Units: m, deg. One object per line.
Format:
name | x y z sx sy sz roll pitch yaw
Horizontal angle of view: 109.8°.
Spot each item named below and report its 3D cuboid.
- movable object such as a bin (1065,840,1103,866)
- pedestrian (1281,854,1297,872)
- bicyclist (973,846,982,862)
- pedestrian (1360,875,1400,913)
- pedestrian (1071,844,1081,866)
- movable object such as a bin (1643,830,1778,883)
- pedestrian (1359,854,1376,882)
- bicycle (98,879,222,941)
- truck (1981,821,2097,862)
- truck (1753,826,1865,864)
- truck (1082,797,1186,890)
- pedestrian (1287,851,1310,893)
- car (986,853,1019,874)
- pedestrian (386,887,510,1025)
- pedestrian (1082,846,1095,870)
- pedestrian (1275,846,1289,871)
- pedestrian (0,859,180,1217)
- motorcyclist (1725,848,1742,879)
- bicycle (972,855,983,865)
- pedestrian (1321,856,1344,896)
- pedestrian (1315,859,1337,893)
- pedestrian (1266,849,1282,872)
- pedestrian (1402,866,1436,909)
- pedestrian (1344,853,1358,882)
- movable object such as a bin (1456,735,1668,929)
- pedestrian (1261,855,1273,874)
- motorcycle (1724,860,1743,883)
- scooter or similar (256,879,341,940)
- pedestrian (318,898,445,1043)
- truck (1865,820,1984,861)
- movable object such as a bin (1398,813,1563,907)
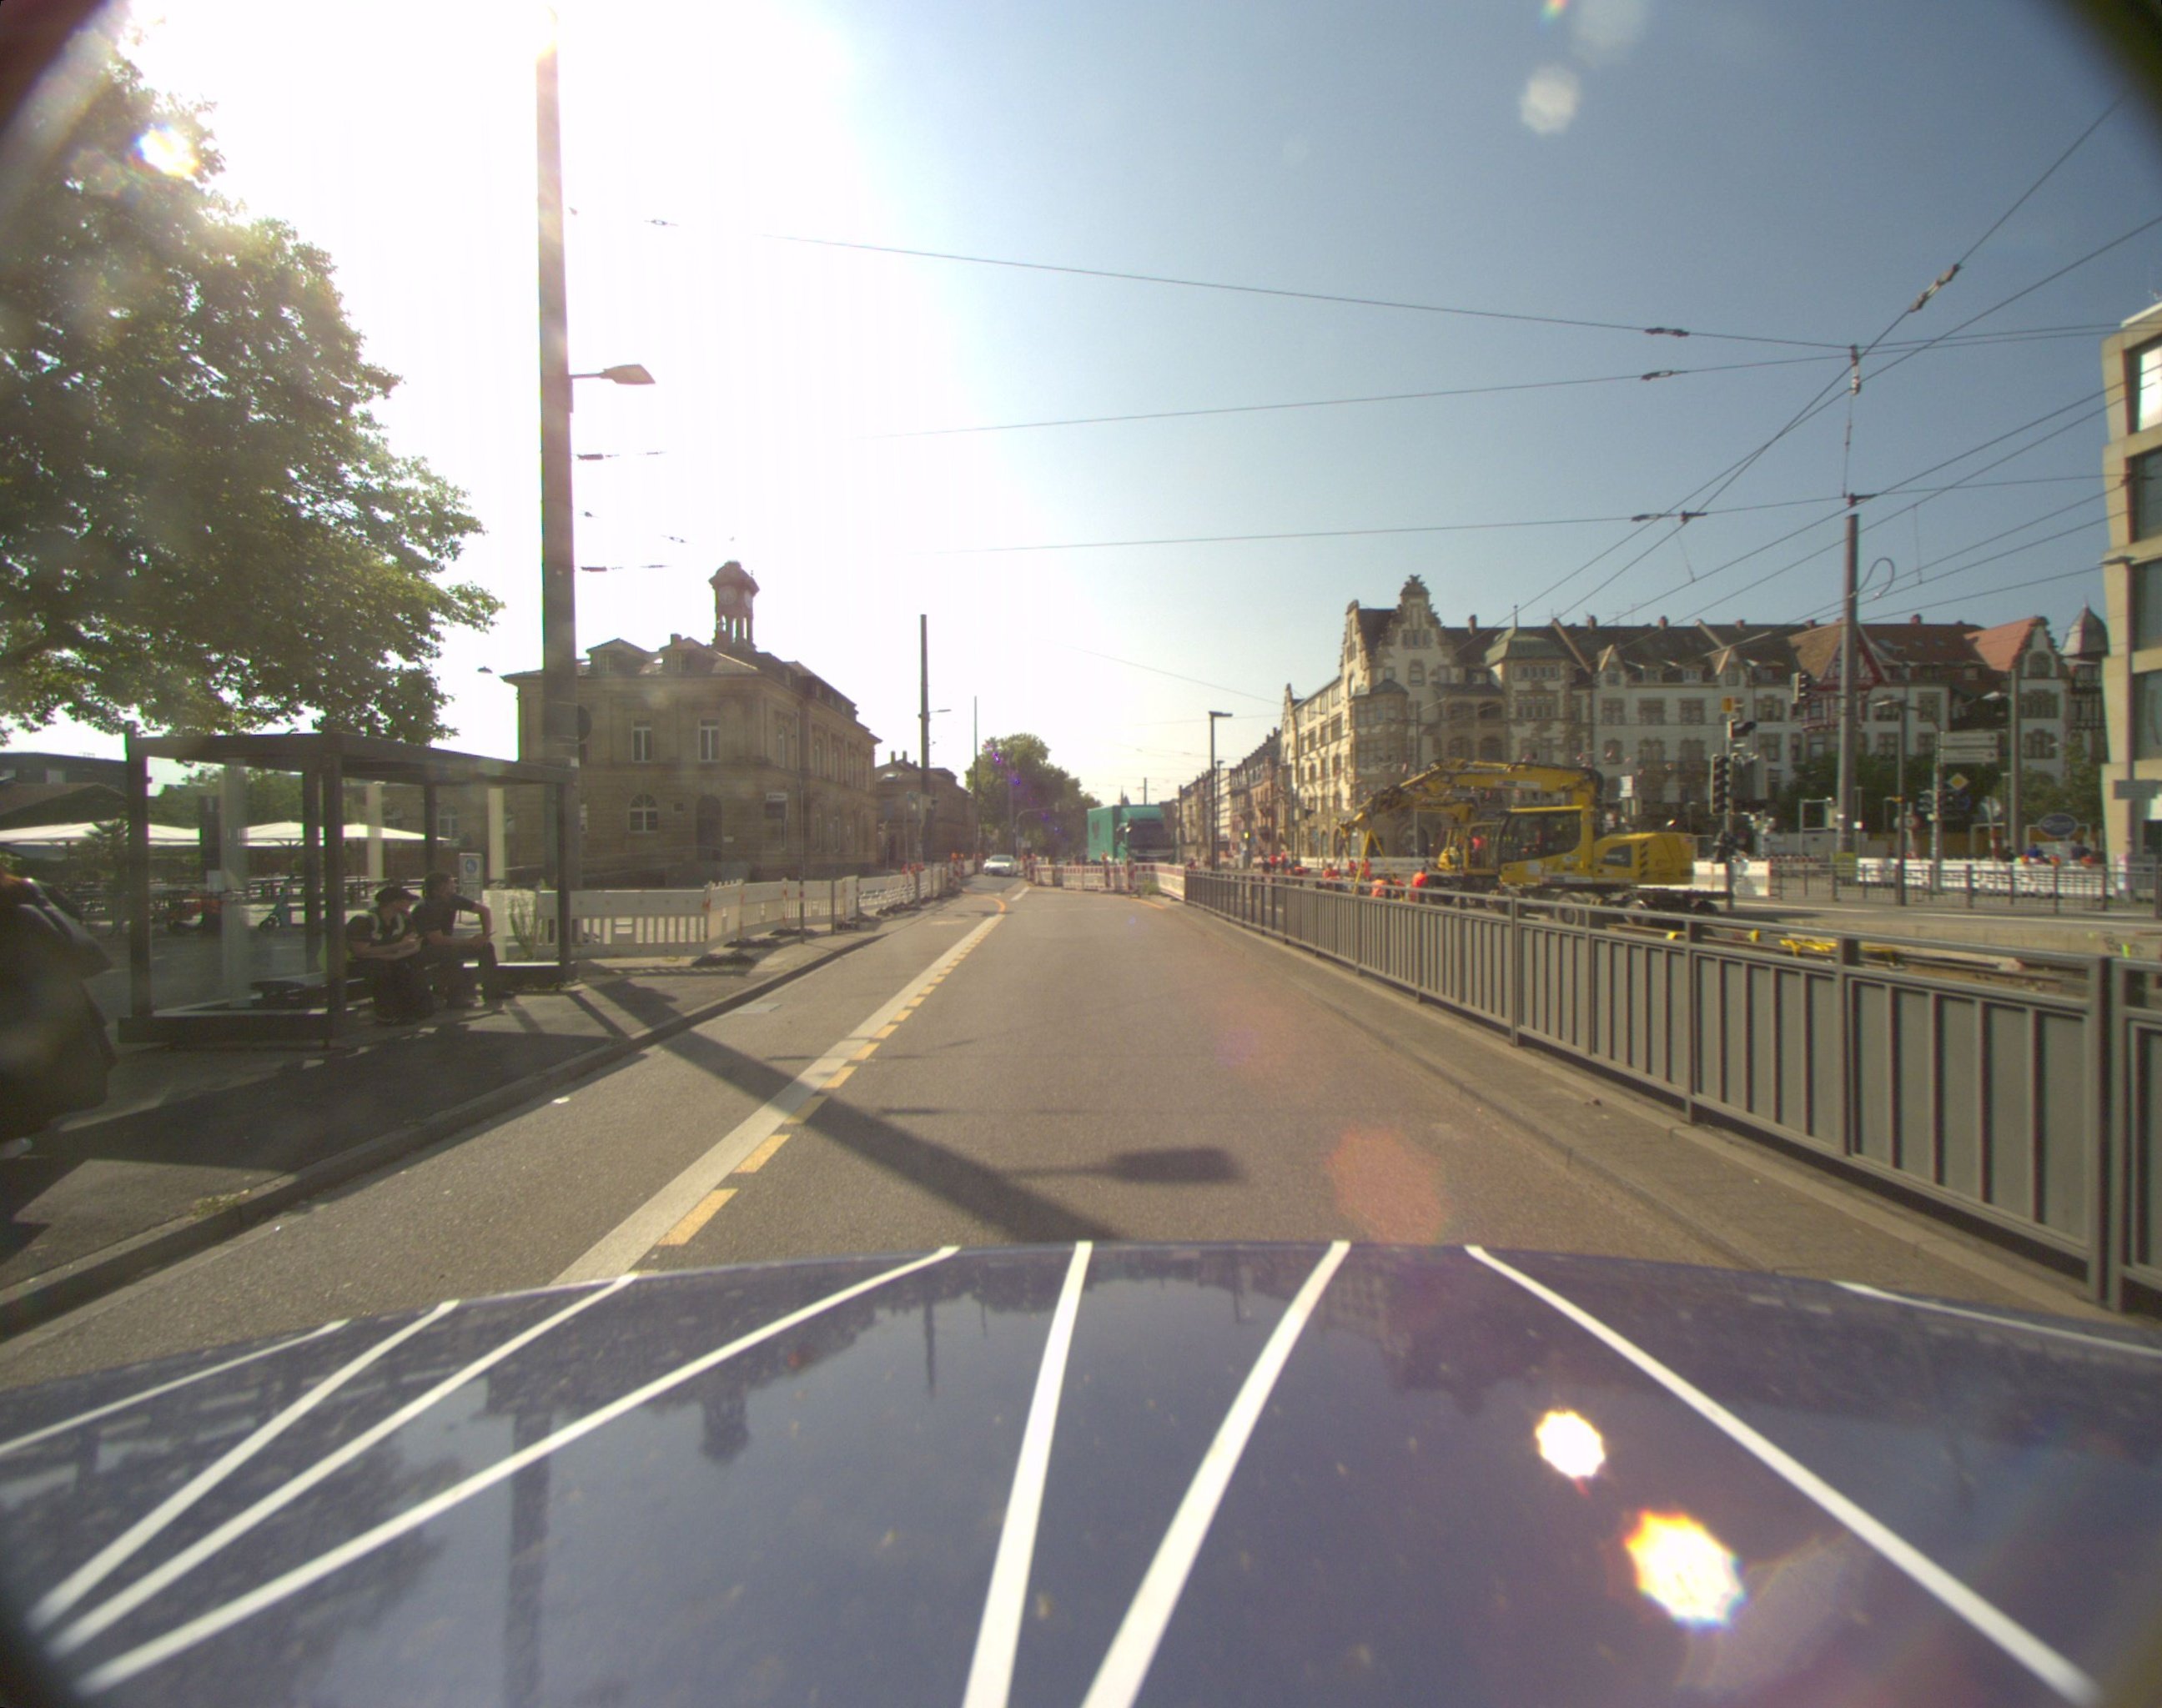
movable object such as a bin | 0.285 -0.129 78.515 3.174 2.395 2.914 2 2 -16
pedestrian | 14.277 0.627 52.092 0.732 1.177 0.866 2 2 -7
bicyclist | -10.241 -0.009 75.010 0.736 1.616 0.853 0 1 1
pedestrian | 7.772 1.036 19.761 0.702 0.949 0.882 0 0 1
pedestrian | -0.394 0.089 59.833 0.720 1.765 0.465 0 1 -5
movable object such as a bin | 35.345 0.100 42.804 5.515 2.774 2.490 -1 2 1
pedestrian | 17.084 0.822 45.341 0.741 1.692 0.758 0 1 -1
bicycle | -19.043 1.126 15.768 0.499 1.159 1.629 0 0 5
truck | 72.967 -0.957 57.926 6.353 3.026 2.238 0 0 -3
truck | 54.720 -0.676 57.216 6.037 2.798 2.691 0 0 -2
truck | 2.167 -0.417 35.363 2.817 3.766 9.007 0 0 -9
pedestrian | 7.837 0.633 27.365 0.741 1.470 0.704 0 1 22
car | -5.529 0.653 53.618 1.844 1.451 4.000 0 0 1
pedestrian | -6.327 0.992 7.628 0.610 1.270 0.759 1 1 -2
pedestrian | 0.565 0.316 59.607 0.921 1.830 0.801 0 1 -6
pedestrian | 13.585 0.321 51.281 0.752 1.692 0.678 0 1 -1
pedestrian | -5.302 0.836 3.699 0.885 1.616 0.821 -1 1 -24
motorcyclist | 25.230 0.360 29.392 0.429 1.172 0.517 4 3 38
bicycle | -10.234 0.584 75.043 0.743 1.026 2.132 0 0 1
pedestrian | 8.550 0.749 25.841 0.701 1.327 0.838 0 1 21
pedestrian | 8.671 0.760 26.863 0.701 1.171 0.703 0 1 21
pedestrian | 13.266 0.416 52.207 0.755 1.547 0.735 -1 1 -42
pedestrian | 9.214 0.903 20.710 0.701 1.148 0.589 0 1 40
pedestrian | 16.162 0.799 45.510 0.740 1.692 0.760 0 1 19
movable object such as a bin | 12.316 -0.498 19.943 2.994 4.527 4.212 0 0 2
pedestrian | 12.035 0.675 49.135 0.678 1.239 0.547 0 1 -1
motorcycle | 25.251 0.669 29.411 0.429 0.873 1.638 4 2 38
scooter or similar | -16.127 1.120 15.686 0.409 1.159 1.226 0 1 5
pedestrian | -6.297 1.029 6.867 0.610 1.211 0.574 1 1 -2
truck | 63.776 -1.003 57.514 6.353 3.026 2.630 0 0 -3
movable object such as a bin | 14.757 0.208 28.315 4.128 3.204 3.563 0 0 -15
